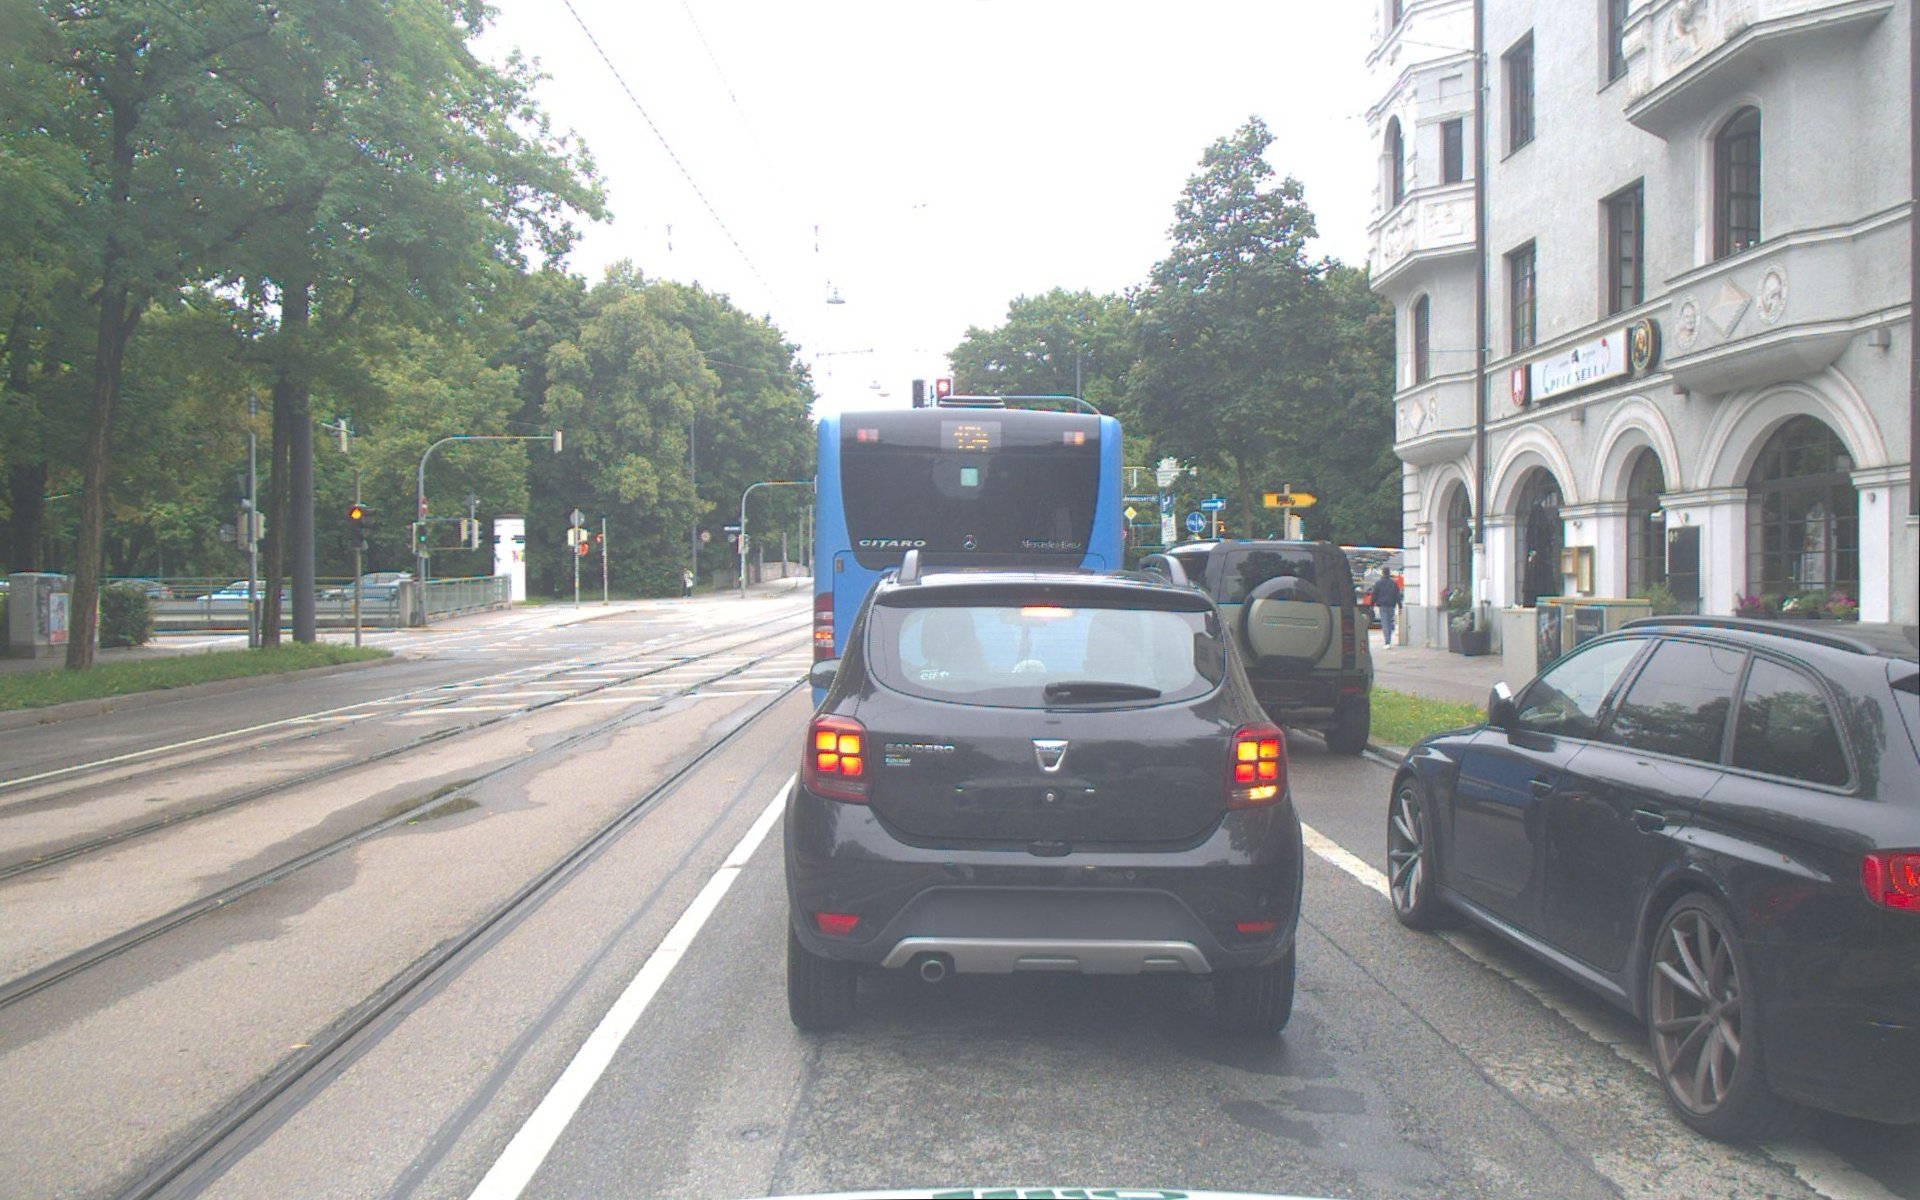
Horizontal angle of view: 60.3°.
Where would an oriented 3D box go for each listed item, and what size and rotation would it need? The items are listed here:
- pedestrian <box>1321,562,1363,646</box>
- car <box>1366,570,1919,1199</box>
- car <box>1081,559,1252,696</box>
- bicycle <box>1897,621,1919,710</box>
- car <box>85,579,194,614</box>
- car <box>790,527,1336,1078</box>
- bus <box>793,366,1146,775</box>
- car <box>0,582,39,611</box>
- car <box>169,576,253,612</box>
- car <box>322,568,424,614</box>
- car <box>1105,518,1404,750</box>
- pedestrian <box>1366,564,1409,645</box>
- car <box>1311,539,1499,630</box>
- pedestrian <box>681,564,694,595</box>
[{"bbox_3d":[8.566,0.086,37.123,0.690,1.848,0.869,1,0,-1],"label":"pedestrian"},{"bbox_3d":[2.910,0.667,5.880,1.681,1.451,4.601,1,0,-1],"label":"car"},{"bbox_3d":[2.667,0.325,22.269,1.679,1.619,4.326,1,0,-1],"label":"car"},{"bbox_3d":[10.453,0.712,17.775,0.254,0.947,0.886,1,0,0],"label":"bicycle"},{"bbox_3d":[-35.620,-0.158,71.880,3.848,1.429,1.719,1,0,-5],"label":"car"},{"bbox_3d":[0.267,0.588,6.605,1.568,1.584,3.524,1,0,-1],"label":"car"},{"bbox_3d":[-0.075,-0.235,16.059,2.625,3.050,6.957,1,0,-3],"label":"bus"},{"bbox_3d":[-41.946,-0.169,71.355,3.656,1.206,1.249,1,0,-6],"label":"car"},{"bbox_3d":[-32.547,-0.246,71.948,3.050,1.477,1.249,1,0,-6],"label":"car"},{"bbox_3d":[-25.820,-0.387,72.864,3.946,1.920,1.488,1,0,-8],"label":"car"},{"bbox_3d":[2.733,0.277,16.528,1.876,1.939,4.805,1,0,-3],"label":"car"},{"bbox_3d":[9.468,0.106,36.678,0.690,1.762,0.843,1,0,-1],"label":"pedestrian"},{"bbox_3d":[13.844,-0.483,51.657,5.191,2.658,2.229,1,0,-4],"label":"car"},{"bbox_3d":[-13.861,-1.042,84.100,0.520,1.527,0.588,1,0,4],"label":"pedestrian"}]
